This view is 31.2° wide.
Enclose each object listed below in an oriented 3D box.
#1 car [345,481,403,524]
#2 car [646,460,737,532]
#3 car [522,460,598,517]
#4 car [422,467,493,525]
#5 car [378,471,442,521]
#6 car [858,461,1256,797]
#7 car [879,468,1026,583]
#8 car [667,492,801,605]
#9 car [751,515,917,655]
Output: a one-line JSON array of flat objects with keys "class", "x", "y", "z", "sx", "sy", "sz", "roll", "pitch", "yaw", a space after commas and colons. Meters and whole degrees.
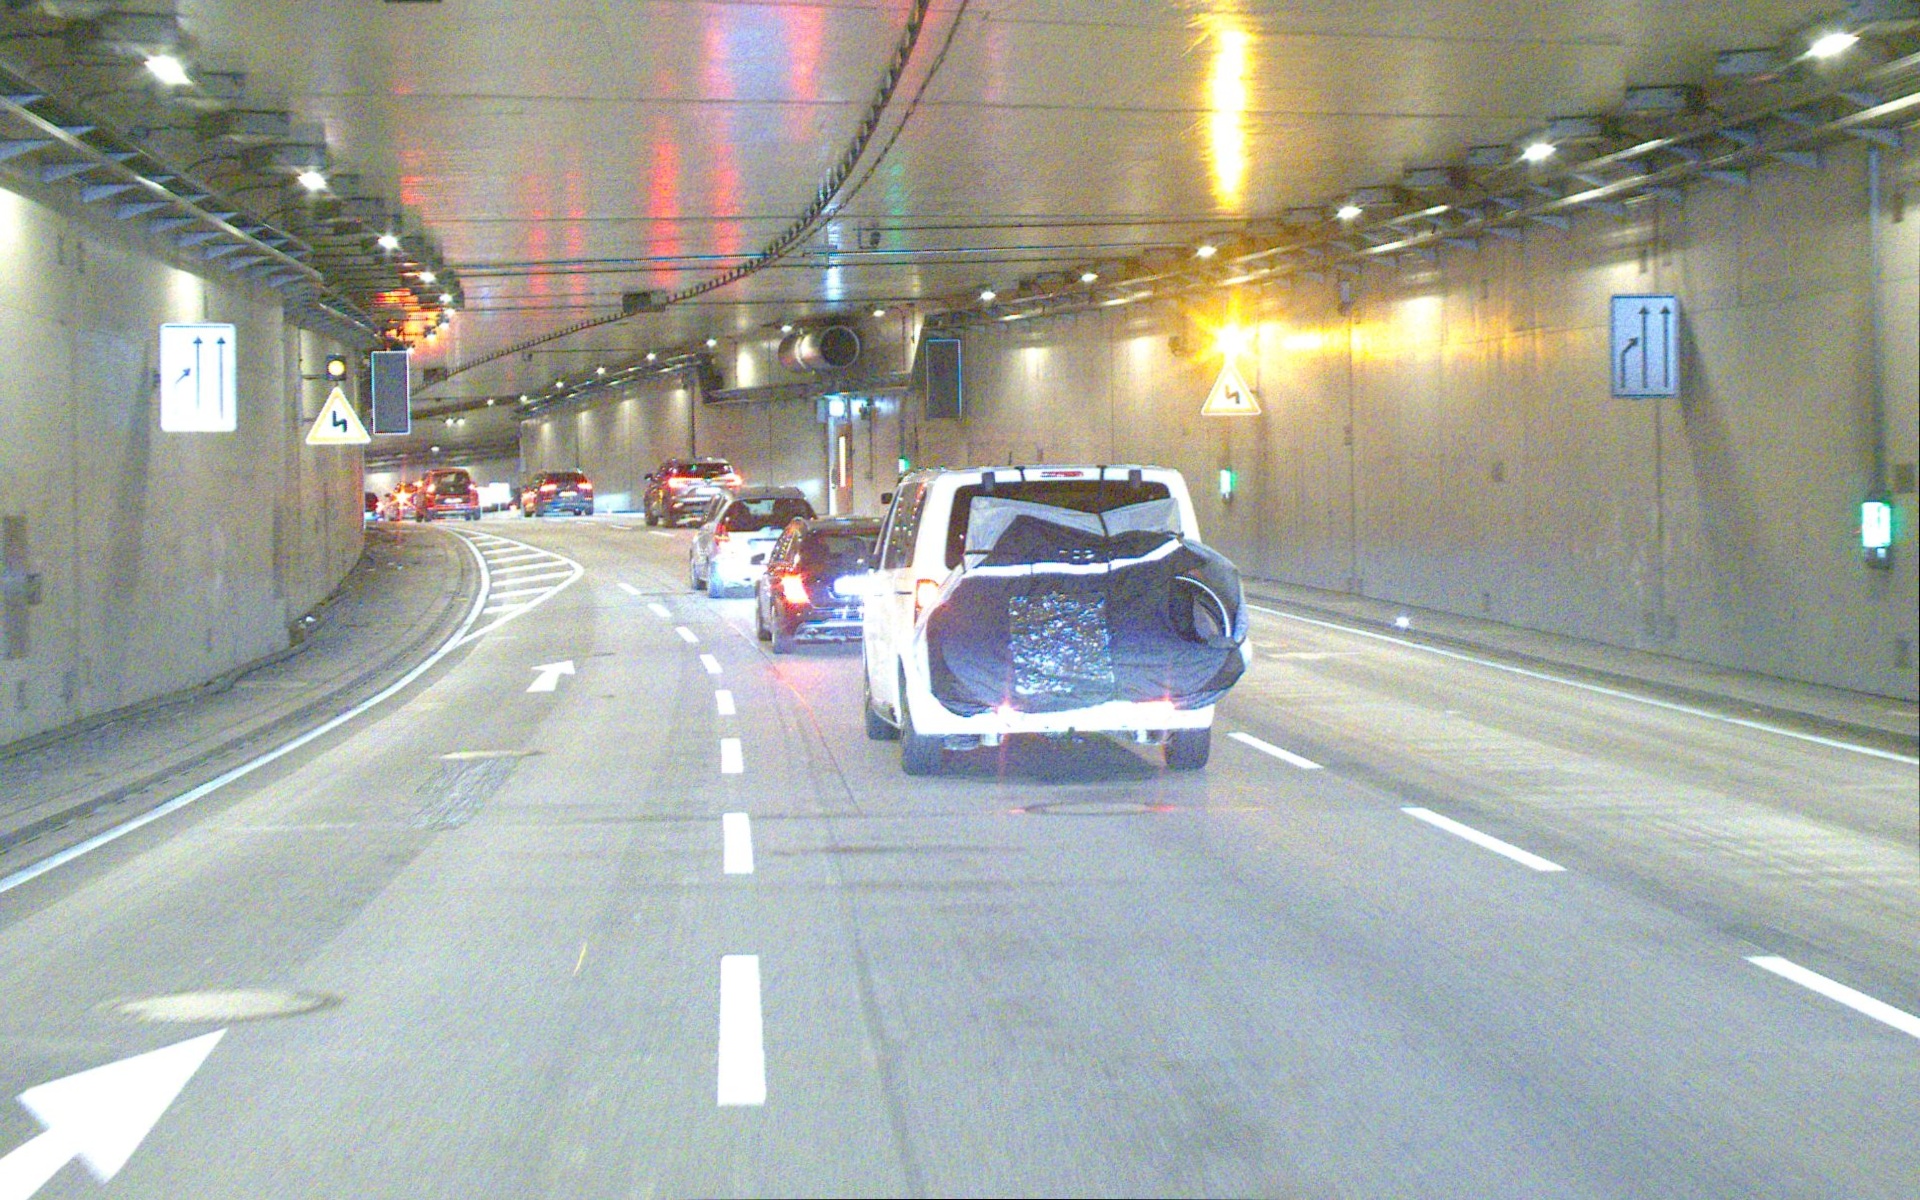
[{"class": "car", "x": -23.613, "y": -3.914, "z": 138.484, "sx": 1.822, "sy": 1.624, "sz": 3.845, "roll": 0, "pitch": 1, "yaw": -17}, {"class": "car", "x": -6.311, "y": -2.416, "z": 80.467, "sx": 1.602, "sy": 1.624, "sz": 3.357, "roll": 0, "pitch": 1, "yaw": -14}, {"class": "car", "x": -12.218, "y": -3.384, "z": 104.932, "sx": 1.822, "sy": 1.624, "sz": 3.845, "roll": 0, "pitch": 1, "yaw": -14}, {"class": "car", "x": -14.953, "y": -3.080, "z": 102.188, "sx": 1.822, "sy": 1.624, "sz": 3.844, "roll": 0, "pitch": 1, "yaw": -12}, {"class": "car", "x": -19.104, "y": -3.589, "z": 119.279, "sx": 1.822, "sy": 1.624, "sz": 3.845, "roll": 0, "pitch": 1, "yaw": -14}, {"class": "car", "x": 0.462, "y": 0.071, "z": 21.666, "sx": 1.993, "sy": 1.841, "sz": 5.302, "roll": 0, "pitch": 2, "yaw": -4}, {"class": "car", "x": -0.159, "y": -1.157, "z": 54.938, "sx": 1.872, "sy": 1.755, "sz": 4.001, "roll": 0, "pitch": 0, "yaw": -7}, {"class": "car", "x": -3.343, "y": -0.788, "z": 50.350, "sx": 1.602, "sy": 1.588, "sz": 3.357, "roll": 0, "pitch": 2, "yaw": -10}, {"class": "car", "x": -1.385, "y": -0.193, "z": 36.707, "sx": 1.602, "sy": 1.390, "sz": 3.278, "roll": 0, "pitch": 2, "yaw": -5}]
